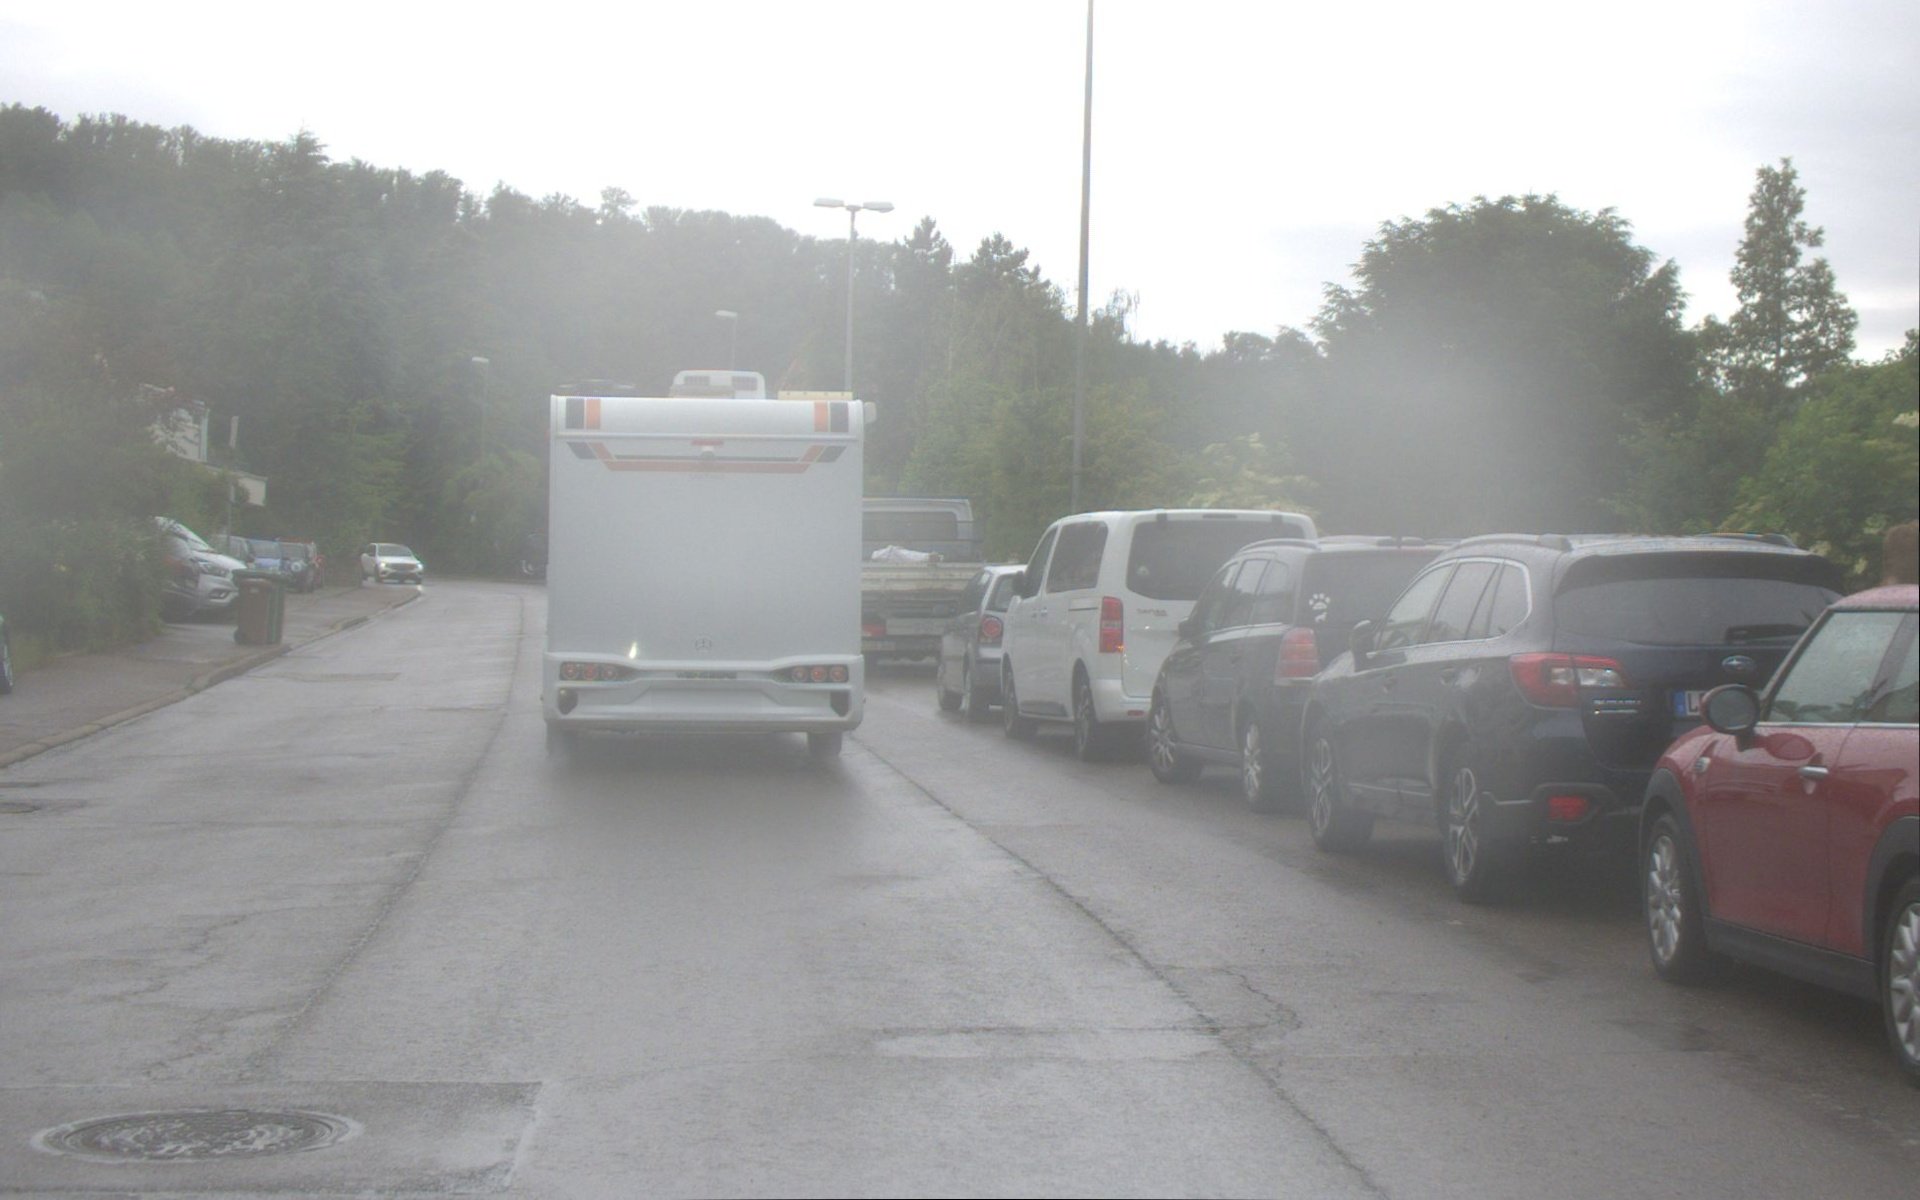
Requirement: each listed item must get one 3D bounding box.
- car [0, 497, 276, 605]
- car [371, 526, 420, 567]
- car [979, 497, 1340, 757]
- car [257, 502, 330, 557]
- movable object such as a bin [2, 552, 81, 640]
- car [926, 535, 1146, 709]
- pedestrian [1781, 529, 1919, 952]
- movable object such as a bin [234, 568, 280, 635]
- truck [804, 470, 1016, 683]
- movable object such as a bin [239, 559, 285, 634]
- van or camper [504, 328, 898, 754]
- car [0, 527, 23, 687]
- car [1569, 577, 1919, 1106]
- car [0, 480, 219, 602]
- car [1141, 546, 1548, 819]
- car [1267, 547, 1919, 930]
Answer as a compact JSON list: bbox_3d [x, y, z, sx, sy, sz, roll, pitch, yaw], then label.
[{"bbox_3d":[-15.442,-0.909,63.445,5.087,1.938,2.141,1,0,10],"label":"car"},{"bbox_3d":[-23.319,-2.209,142.167,1.905,1.602,4.429,2,1,-9],"label":"car"},{"bbox_3d":[1.471,0.180,27.426,1.848,1.875,4.912,0,0,-9],"label":"car"},{"bbox_3d":[-19.013,-2.011,98.174,1.632,1.391,4.240,5,0,-7],"label":"car"},{"bbox_3d":[-11.426,-0.050,42.777,0.698,1.079,0.709,1,1,13],"label":"movable object such as a bin"},{"bbox_3d":[0.666,0.186,32.990,1.647,1.558,3.964,0,0,-5],"label":"car"},{"bbox_3d":[3.738,0.541,13.651,0.716,1.629,0.707,1,1,-5],"label":"pedestrian"},{"bbox_3d":[-10.014,0.021,48.961,0.602,0.925,0.564,2,1,-11],"label":"movable object such as a bin"},{"bbox_3d":[-0.760,-0.311,45.669,2.238,2.622,6.539,0,0,-6],"label":"truck"},{"bbox_3d":[-10.125,-0.052,49.871,0.602,1.060,0.638,2,1,-11],"label":"movable object such as a bin"},{"bbox_3d":[-2.114,-0.359,26.801,2.615,2.843,6.032,2,-1,-6],"label":"van or camper"},{"bbox_3d":[-10.379,0.073,33.447,1.803,1.591,4.419,0,0,-7],"label":"car"},{"bbox_3d":[3.294,0.638,10.957,1.735,1.409,3.852,0,0,-5],"label":"car"},{"bbox_3d":[-14.283,-0.985,55.459,4.056,1.686,1.893,5,0,7],"label":"car"},{"bbox_3d":[2.289,0.452,21.565,1.644,1.535,4.354,0,0,-6],"label":"car"},{"bbox_3d":[2.767,0.530,15.898,1.815,1.501,4.725,0,0,-6],"label":"car"}]
